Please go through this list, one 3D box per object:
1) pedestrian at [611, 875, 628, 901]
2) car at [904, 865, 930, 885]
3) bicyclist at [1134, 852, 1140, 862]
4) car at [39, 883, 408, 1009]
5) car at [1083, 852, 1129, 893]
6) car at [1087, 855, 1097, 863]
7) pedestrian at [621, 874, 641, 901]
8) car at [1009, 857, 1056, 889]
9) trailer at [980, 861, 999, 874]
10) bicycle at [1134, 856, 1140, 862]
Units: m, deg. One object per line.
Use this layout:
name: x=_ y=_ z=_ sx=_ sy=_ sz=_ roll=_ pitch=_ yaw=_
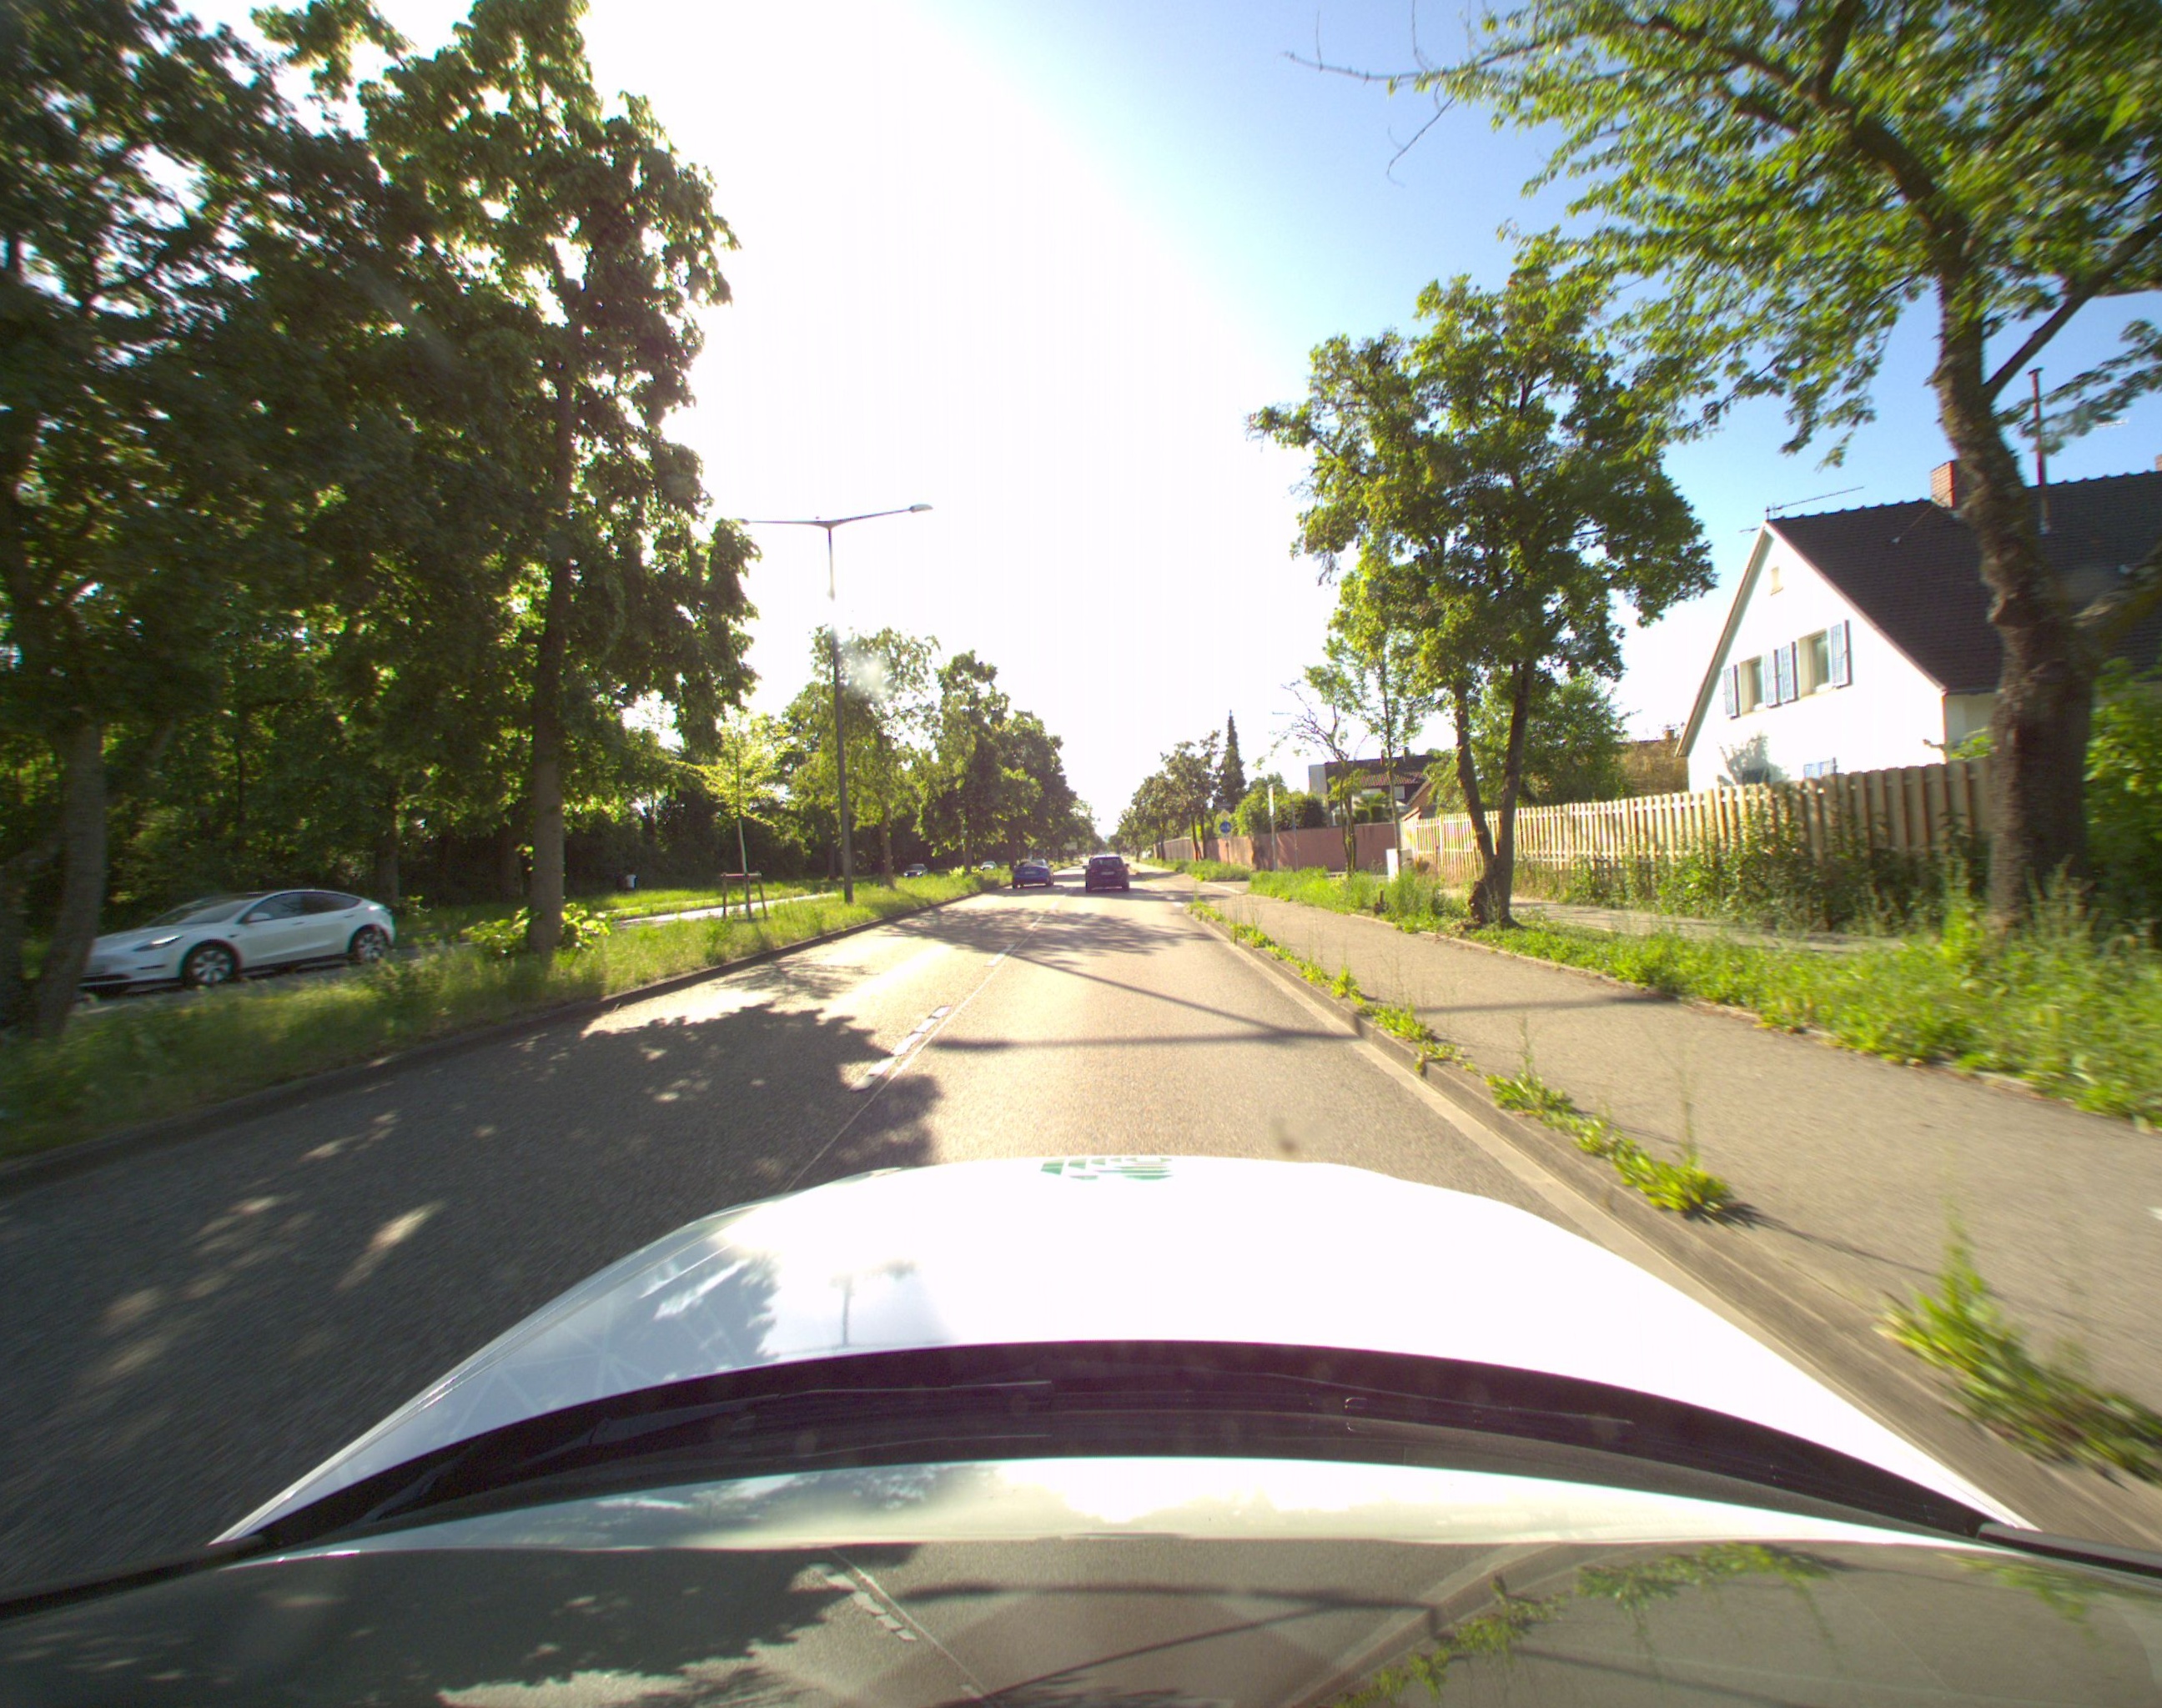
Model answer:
pedestrian: x=-26.408 y=1.937 z=46.604 sx=0.542 sy=1.459 sz=0.596 roll=-3 pitch=0 yaw=1
car: x=-13.935 y=1.759 z=69.327 sx=1.712 sy=1.505 sz=3.012 roll=-5 pitch=1 yaw=-4
bicyclist: x=7.626 y=0.393 z=110.702 sx=0.678 sy=1.418 sz=0.812 roll=-2 pitch=0 yaw=1
car: x=-15.521 y=1.545 z=15.244 sx=1.834 sy=1.589 sz=4.585 roll=-8 pitch=0 yaw=0
car: x=1.074 y=0.714 z=33.482 sx=1.753 sy=1.559 sz=4.003 roll=-1 pitch=0 yaw=3
car: x=2.435 y=1.133 z=183.093 sx=1.973 sy=1.440 sz=3.997 roll=-3 pitch=1 yaw=-2
pedestrian: x=-25.760 y=1.913 z=46.652 sx=0.542 sy=1.459 sz=0.917 roll=-3 pitch=0 yaw=2
car: x=-2.396 y=0.930 z=41.059 sx=1.987 sy=1.405 sz=4.001 roll=-2 pitch=0 yaw=1
trailer: x=-11.969 y=1.764 z=107.090 sx=1.734 sy=1.424 sz=4.499 roll=-5 pitch=0 yaw=2
bicycle: x=7.623 y=0.668 z=110.785 sx=0.653 sy=0.892 sz=1.875 roll=-2 pitch=0 yaw=2
